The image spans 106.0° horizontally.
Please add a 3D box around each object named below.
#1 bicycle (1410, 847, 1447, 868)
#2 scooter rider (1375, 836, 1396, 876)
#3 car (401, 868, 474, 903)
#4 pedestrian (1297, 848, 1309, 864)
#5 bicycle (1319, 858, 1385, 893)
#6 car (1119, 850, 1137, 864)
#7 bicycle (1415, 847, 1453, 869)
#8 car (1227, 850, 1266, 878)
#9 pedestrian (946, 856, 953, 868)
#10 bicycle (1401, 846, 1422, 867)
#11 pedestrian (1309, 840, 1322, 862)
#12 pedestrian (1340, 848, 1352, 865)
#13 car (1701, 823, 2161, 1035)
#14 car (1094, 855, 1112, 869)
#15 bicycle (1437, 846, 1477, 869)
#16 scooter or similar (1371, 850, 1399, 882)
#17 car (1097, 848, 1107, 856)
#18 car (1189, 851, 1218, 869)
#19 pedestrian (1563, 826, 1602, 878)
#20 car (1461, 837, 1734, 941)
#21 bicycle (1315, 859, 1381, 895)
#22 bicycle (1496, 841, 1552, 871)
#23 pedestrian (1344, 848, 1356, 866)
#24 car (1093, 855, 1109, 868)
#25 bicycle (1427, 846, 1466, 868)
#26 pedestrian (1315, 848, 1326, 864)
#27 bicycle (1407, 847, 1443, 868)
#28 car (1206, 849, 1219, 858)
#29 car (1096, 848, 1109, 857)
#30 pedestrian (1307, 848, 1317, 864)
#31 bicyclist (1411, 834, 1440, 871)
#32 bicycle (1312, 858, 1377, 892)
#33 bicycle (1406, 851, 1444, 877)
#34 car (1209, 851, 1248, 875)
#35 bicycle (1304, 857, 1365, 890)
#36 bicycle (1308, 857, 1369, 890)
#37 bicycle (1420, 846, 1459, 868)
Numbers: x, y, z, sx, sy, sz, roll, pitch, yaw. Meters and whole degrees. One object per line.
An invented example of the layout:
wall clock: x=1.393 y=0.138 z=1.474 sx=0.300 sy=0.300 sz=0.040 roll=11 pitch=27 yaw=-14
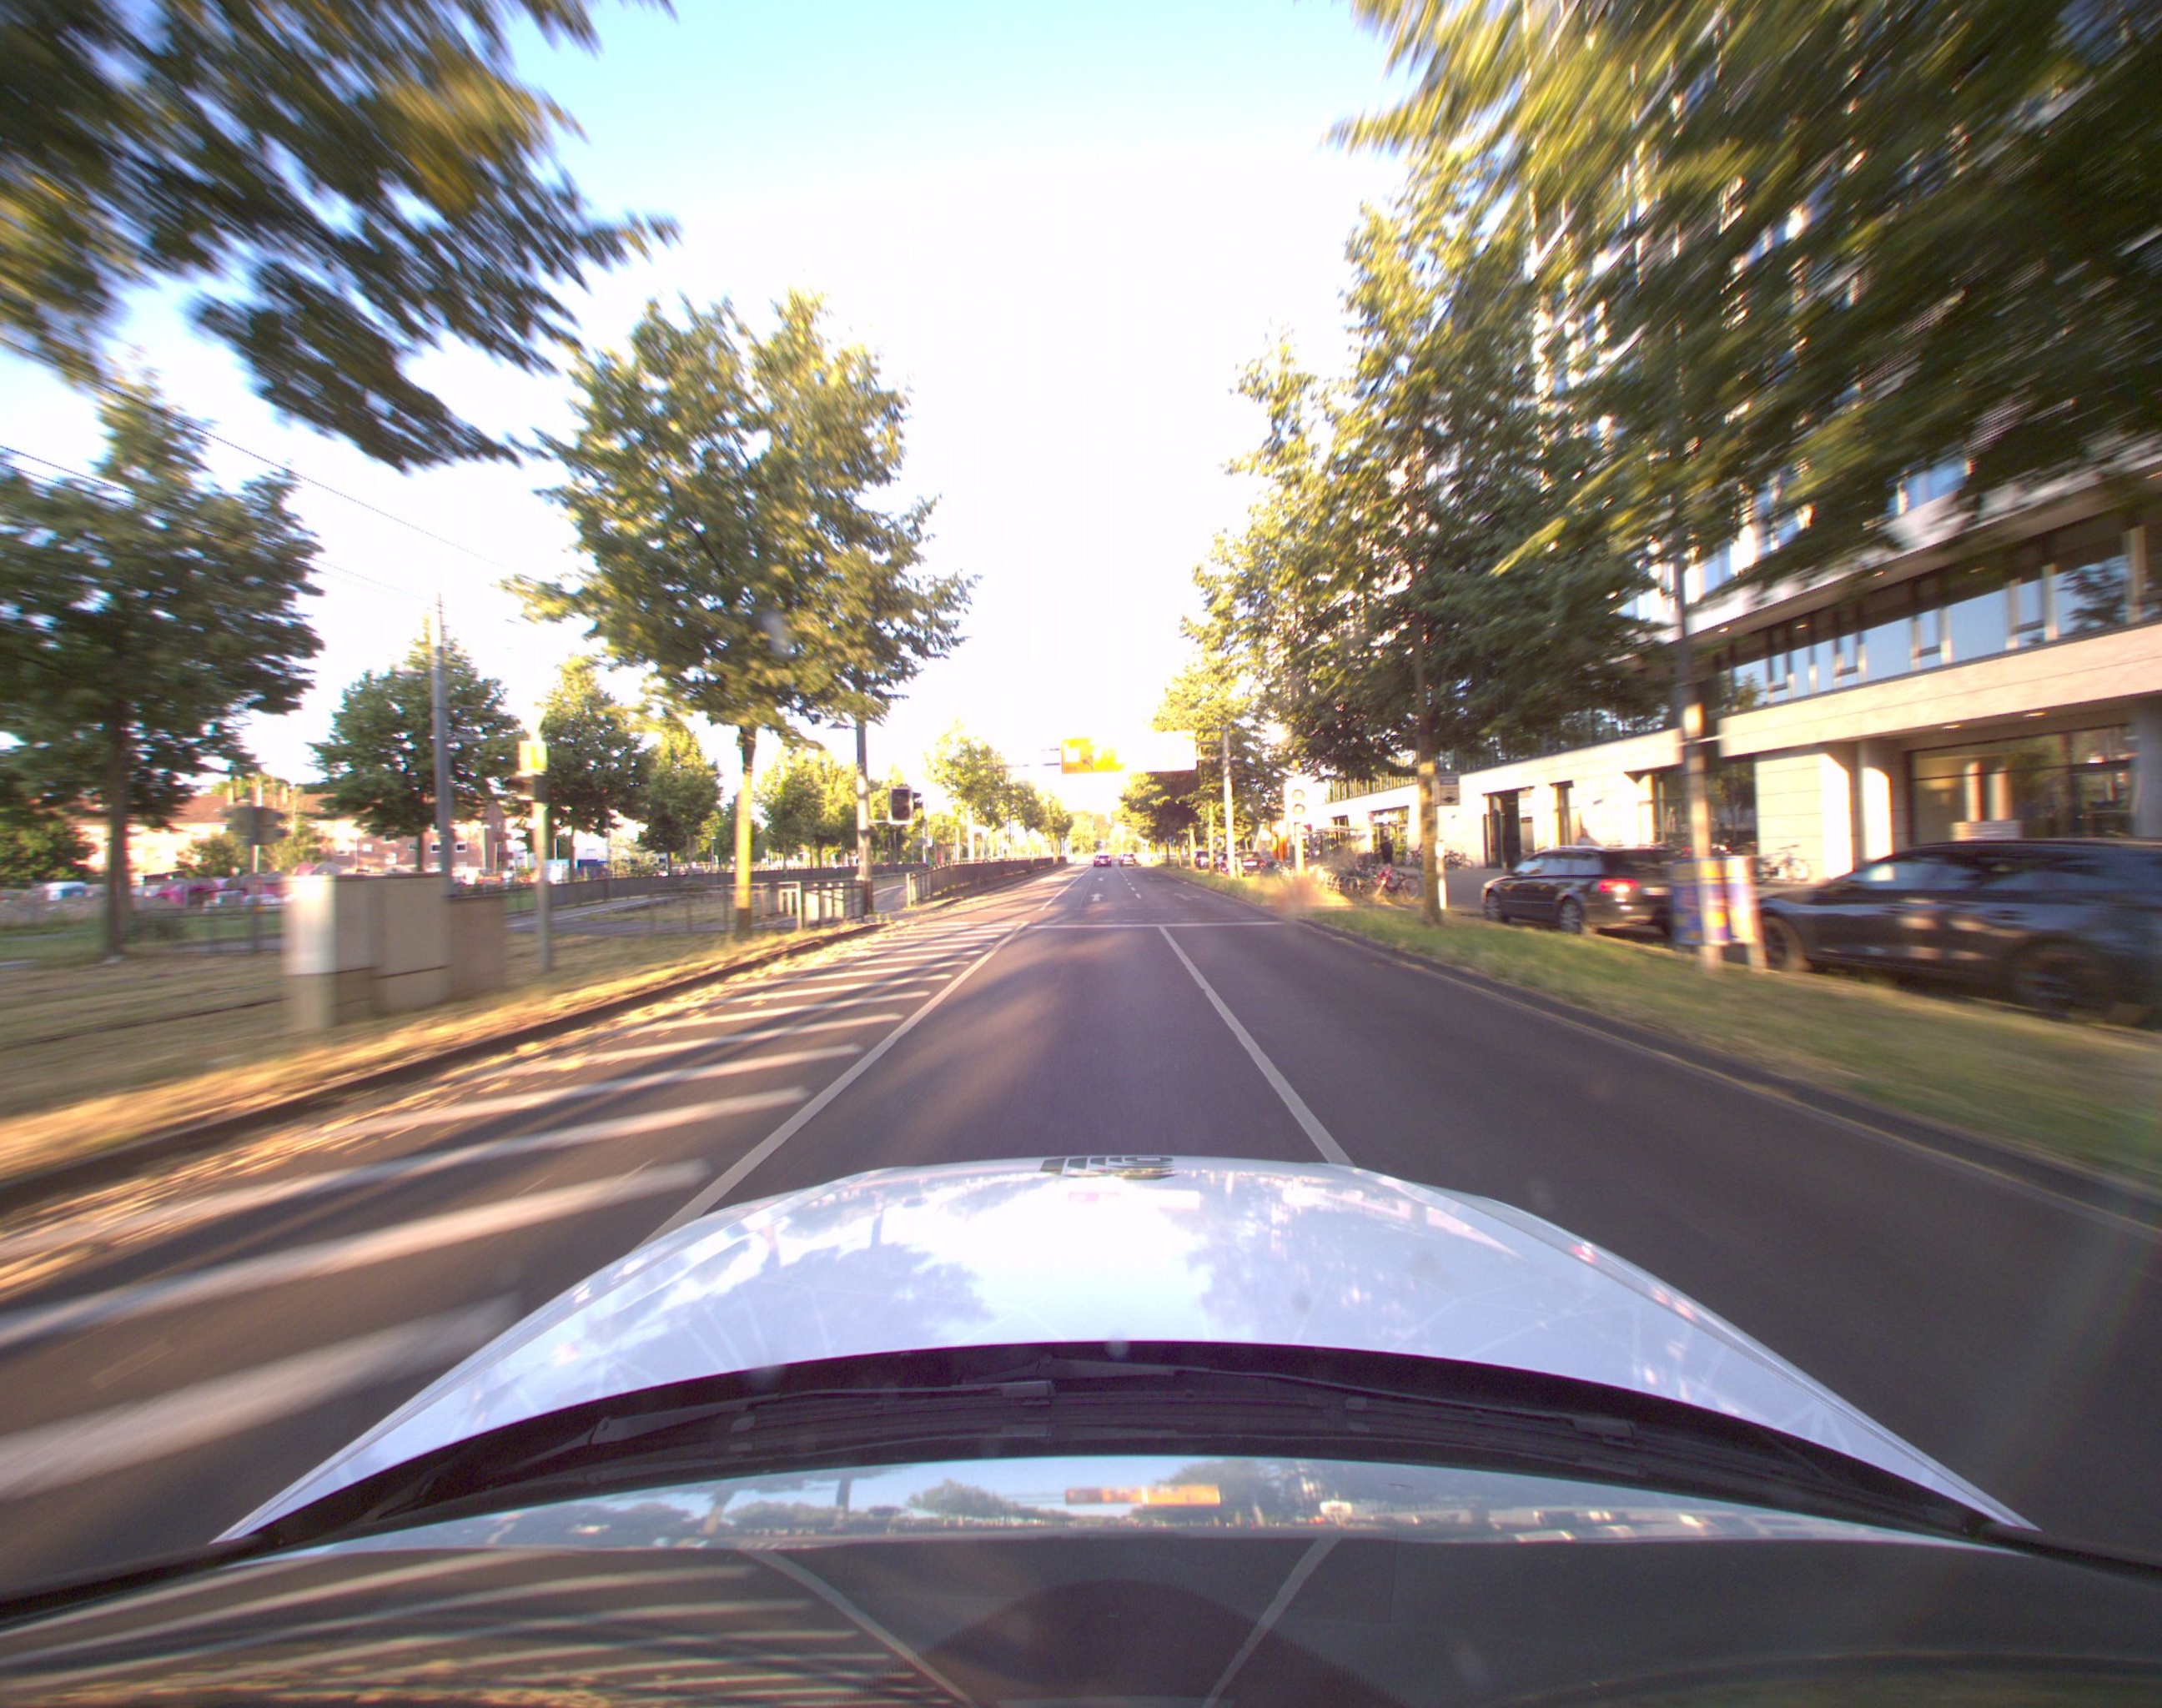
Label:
bicycle: x=18.847 y=0.193 z=44.133 sx=1.780 sy=1.104 sz=0.508 roll=-2 pitch=0 yaw=-4
scooter rider: x=12.847 y=0.089 z=34.341 sx=0.524 sy=1.638 sz=0.832 roll=-2 pitch=0 yaw=-1
car: x=-45.085 y=2.128 z=57.211 sx=2.425 sy=2.224 sz=5.874 roll=-2 pitch=0 yaw=-22
pedestrian: x=18.686 y=0.155 z=68.581 sx=0.627 sy=1.283 sz=0.712 roll=-2 pitch=0 yaw=-20
bicycle: x=8.588 y=0.691 z=25.812 sx=1.941 sy=1.054 sz=0.543 roll=1 pitch=0 yaw=-10
car: x=5.387 y=0.369 z=93.132 sx=1.905 sy=1.486 sz=4.001 roll=-2 pitch=0 yaw=1
bicycle: x=18.784 y=0.203 z=43.326 sx=1.780 sy=1.104 sz=0.508 roll=-2 pitch=0 yaw=-4
car: x=9.448 y=0.550 z=46.836 sx=1.569 sy=1.472 sz=3.884 roll=-2 pitch=0 yaw=2
pedestrian: x=-14.496 y=0.872 z=89.987 sx=0.613 sy=1.319 sz=0.744 roll=-2 pitch=0 yaw=-2
bicycle: x=19.677 y=0.126 z=48.538 sx=0.467 sy=1.208 sz=2.266 roll=-2 pitch=0 yaw=5
pedestrian: x=18.643 y=-0.250 z=64.730 sx=0.707 sy=1.737 sz=0.683 roll=-2 pitch=0 yaw=-29
pedestrian: x=18.761 y=0.190 z=57.567 sx=0.569 sy=1.195 sz=0.807 roll=-2 pitch=0 yaw=2
car: x=8.478 y=0.505 z=7.592 sx=1.804 sy=1.471 sz=4.664 roll=-2 pitch=0 yaw=0
car: x=2.454 y=0.845 z=91.504 sx=1.905 sy=1.486 sz=4.001 roll=-2 pitch=0 yaw=1
bicycle: x=18.748 y=0.169 z=40.642 sx=1.780 sy=1.104 sz=0.508 roll=-2 pitch=0 yaw=-4
scooter or similar: x=12.849 y=0.480 z=34.475 sx=0.524 sy=1.310 sz=1.663 roll=-2 pitch=0 yaw=-1
car: x=3.844 y=-0.366 z=149.413 sx=1.905 sy=1.486 sz=4.001 roll=-2 pitch=0 yaw=1
car: x=10.321 y=0.496 z=68.939 sx=1.751 sy=1.466 sz=4.157 roll=-2 pitch=0 yaw=-1
pedestrian: x=16.400 y=-0.077 z=26.634 sx=0.640 sy=1.648 sz=0.953 roll=-2 pitch=0 yaw=1
car: x=8.465 y=0.497 z=13.963 sx=1.861 sy=1.411 sz=4.649 roll=-2 pitch=0 yaw=3
bicycle: x=8.222 y=0.696 z=25.091 sx=1.944 sy=1.054 sz=0.542 roll=1 pitch=0 yaw=-14
bicycle: x=17.993 y=0.092 z=33.109 sx=1.977 sy=1.141 sz=0.503 roll=-2 pitch=0 yaw=-2
pedestrian: x=18.702 y=0.202 z=56.625 sx=0.569 sy=1.195 sz=0.807 roll=-2 pitch=0 yaw=4
car: x=2.400 y=0.864 z=98.062 sx=1.905 sy=1.486 sz=4.001 roll=-2 pitch=0 yaw=1
bicycle: x=18.873 y=0.151 z=42.033 sx=1.780 sy=1.104 sz=0.508 roll=-2 pitch=0 yaw=-4
pedestrian: x=20.057 y=0.146 z=68.229 sx=0.580 sy=1.283 sz=0.735 roll=-2 pitch=0 yaw=-17
bicycle: x=18.871 y=0.186 z=44.689 sx=1.780 sy=1.104 sz=0.508 roll=-2 pitch=0 yaw=-4
car: x=29.375 y=-0.106 z=182.371 sx=1.976 sy=1.728 sz=4.022 roll=-2 pitch=0 yaw=22
car: x=3.478 y=-0.236 z=132.430 sx=1.905 sy=1.486 sz=4.001 roll=-2 pitch=0 yaw=1
pedestrian: x=19.329 y=0.153 z=68.215 sx=0.577 sy=1.283 sz=0.738 roll=-2 pitch=0 yaw=-2
bicyclist: x=14.999 y=-0.054 z=35.486 sx=0.769 sy=1.566 sz=0.991 roll=-2 pitch=0 yaw=-1
bicycle: x=8.549 y=0.674 z=26.433 sx=1.939 sy=1.054 sz=0.544 roll=1 pitch=0 yaw=-6
bicycle: x=15.031 y=0.434 z=35.656 sx=0.769 sy=1.079 sz=2.063 roll=-2 pitch=0 yaw=-1
car: x=9.727 y=0.570 z=53.894 sx=1.772 sy=1.472 sz=4.287 roll=-2 pitch=0 yaw=0
bicycle: x=8.525 y=0.642 z=27.416 sx=1.939 sy=1.054 sz=0.408 roll=1 pitch=0 yaw=-6
bicycle: x=8.527 y=0.644 z=26.973 sx=1.939 sy=1.054 sz=0.408 roll=1 pitch=0 yaw=-6
bicycle: x=18.779 y=0.166 z=42.655 sx=1.780 sy=1.104 sz=0.508 roll=-2 pitch=0 yaw=-4
